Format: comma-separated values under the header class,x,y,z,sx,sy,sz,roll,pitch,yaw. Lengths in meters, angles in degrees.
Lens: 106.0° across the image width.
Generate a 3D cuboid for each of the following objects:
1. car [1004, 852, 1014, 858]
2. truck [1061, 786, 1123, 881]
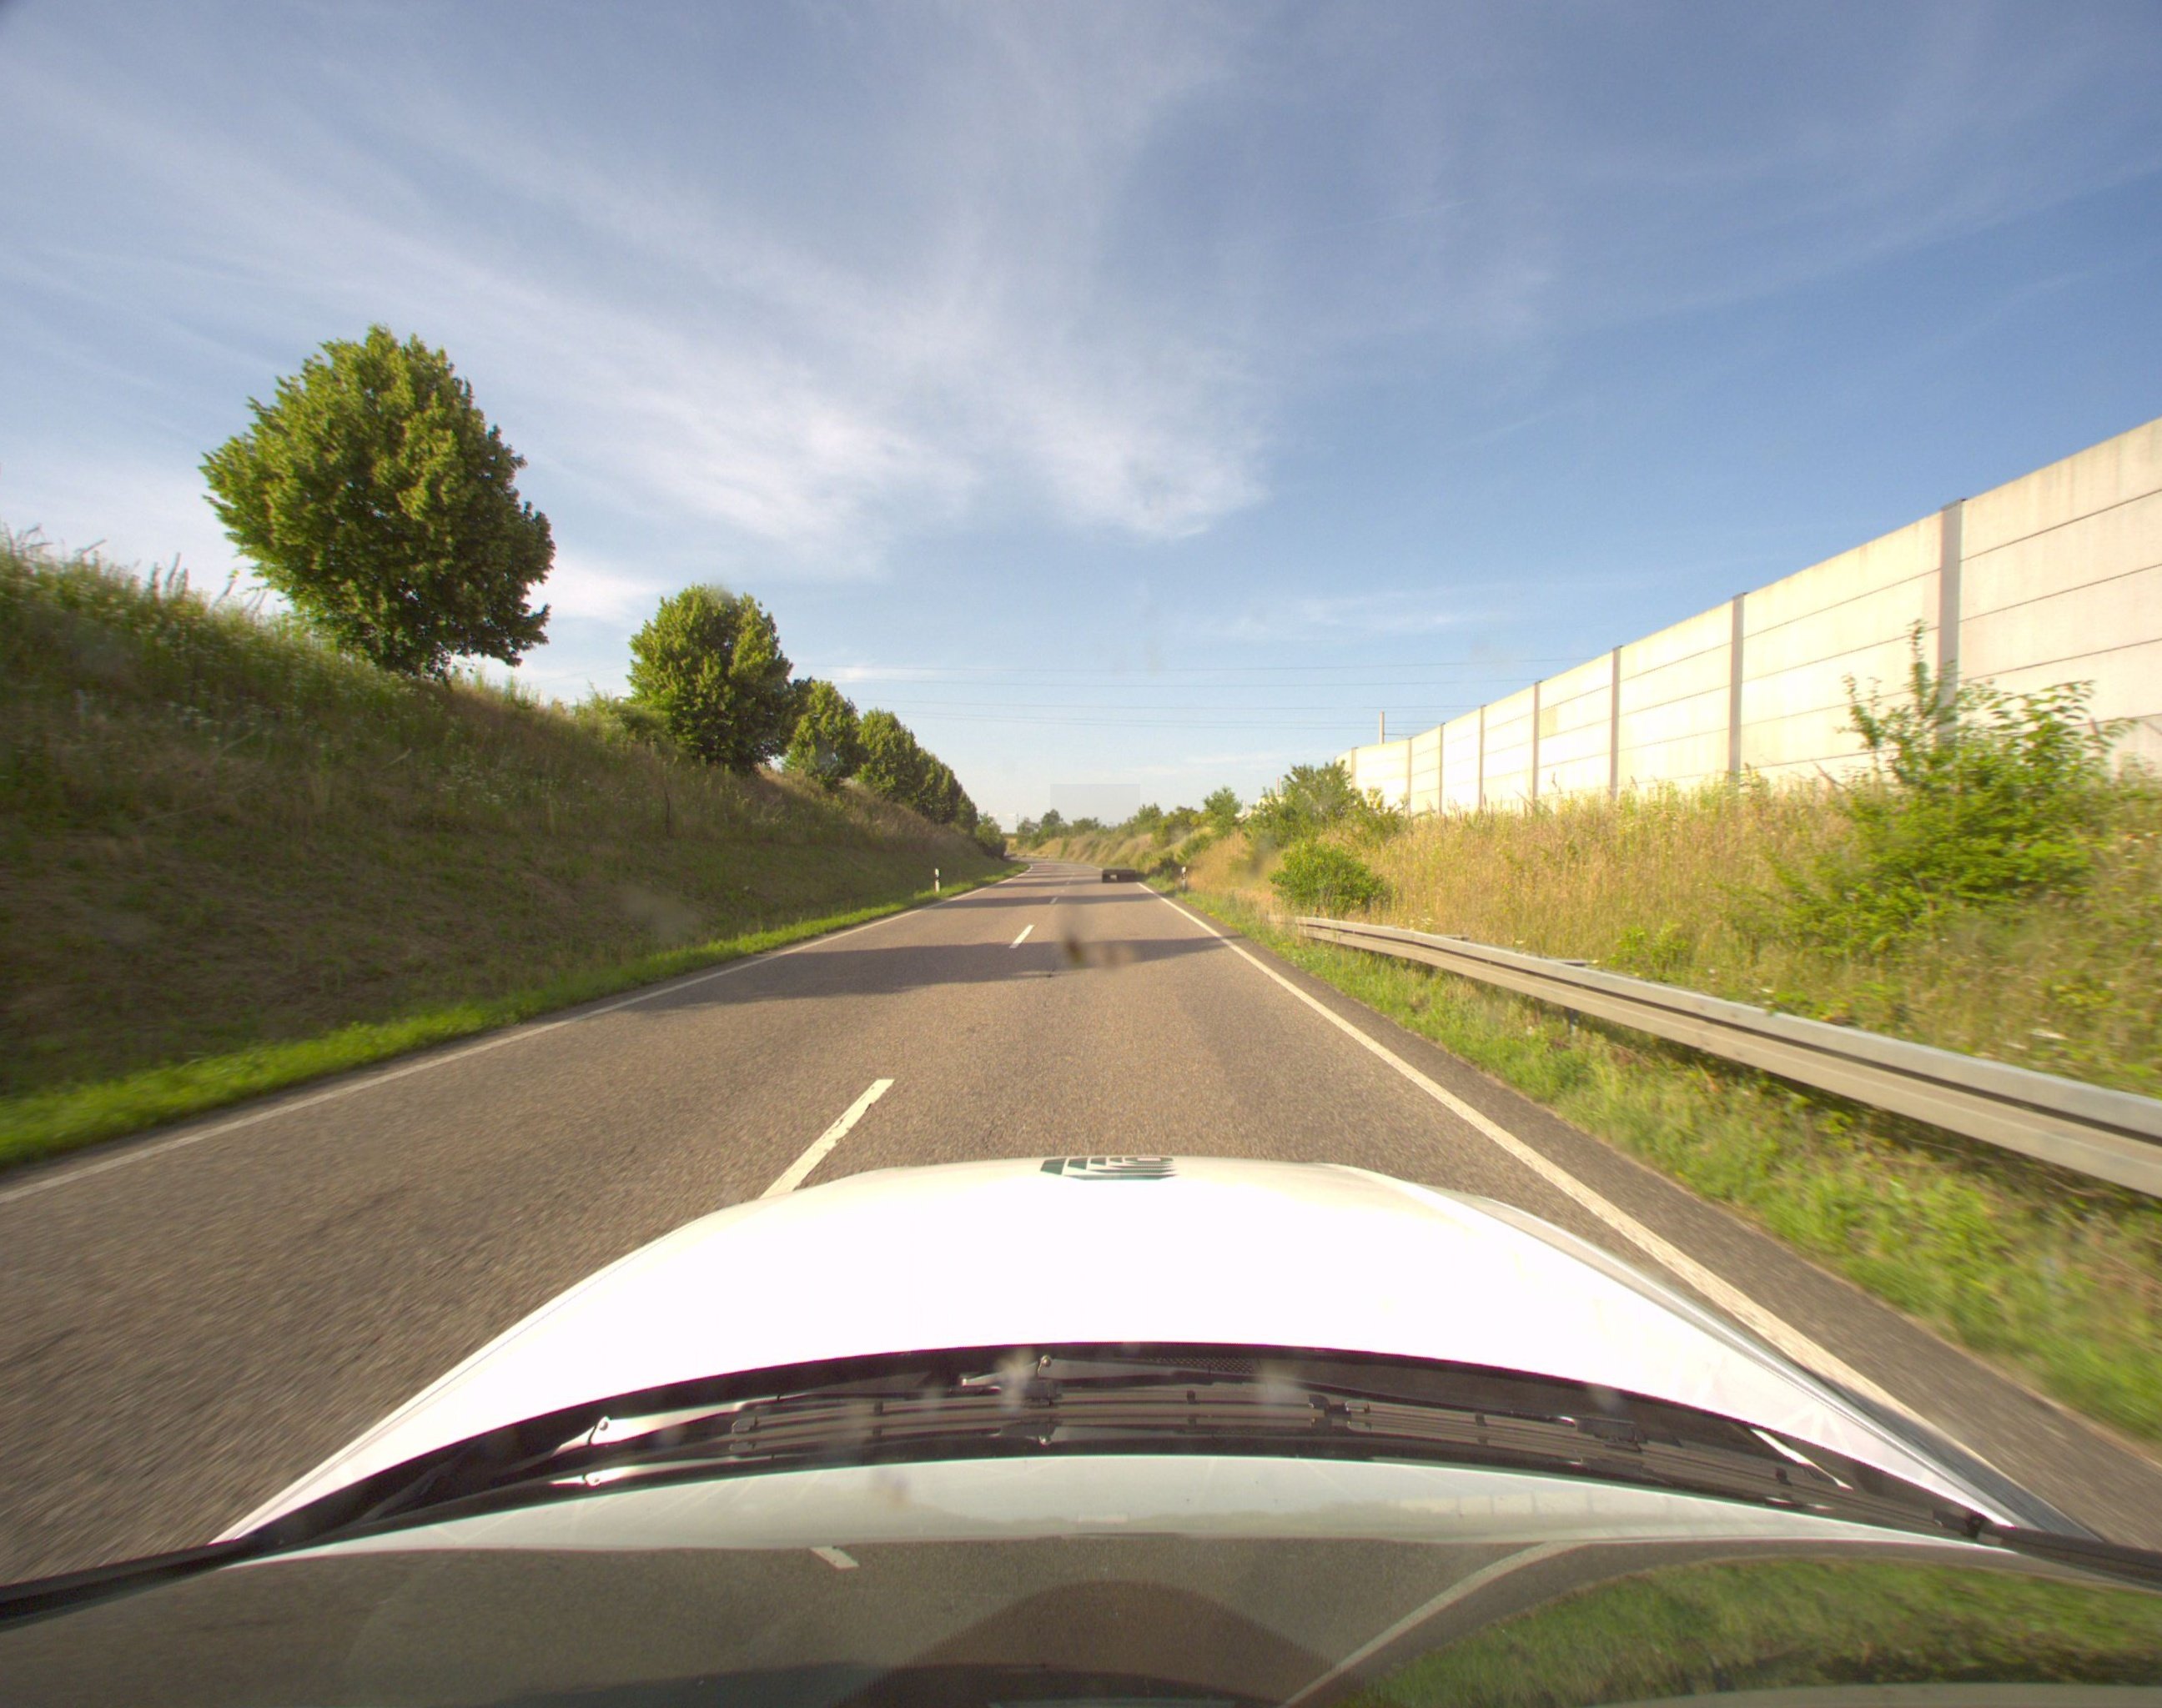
class,x,y,z,sx,sy,sz,roll,pitch,yaw
car,-18.498,0.327,210.265,2.038,1.581,4.363,0,0,3
truck,0.716,-1.153,49.674,3.279,5.089,12.040,0,1,1
